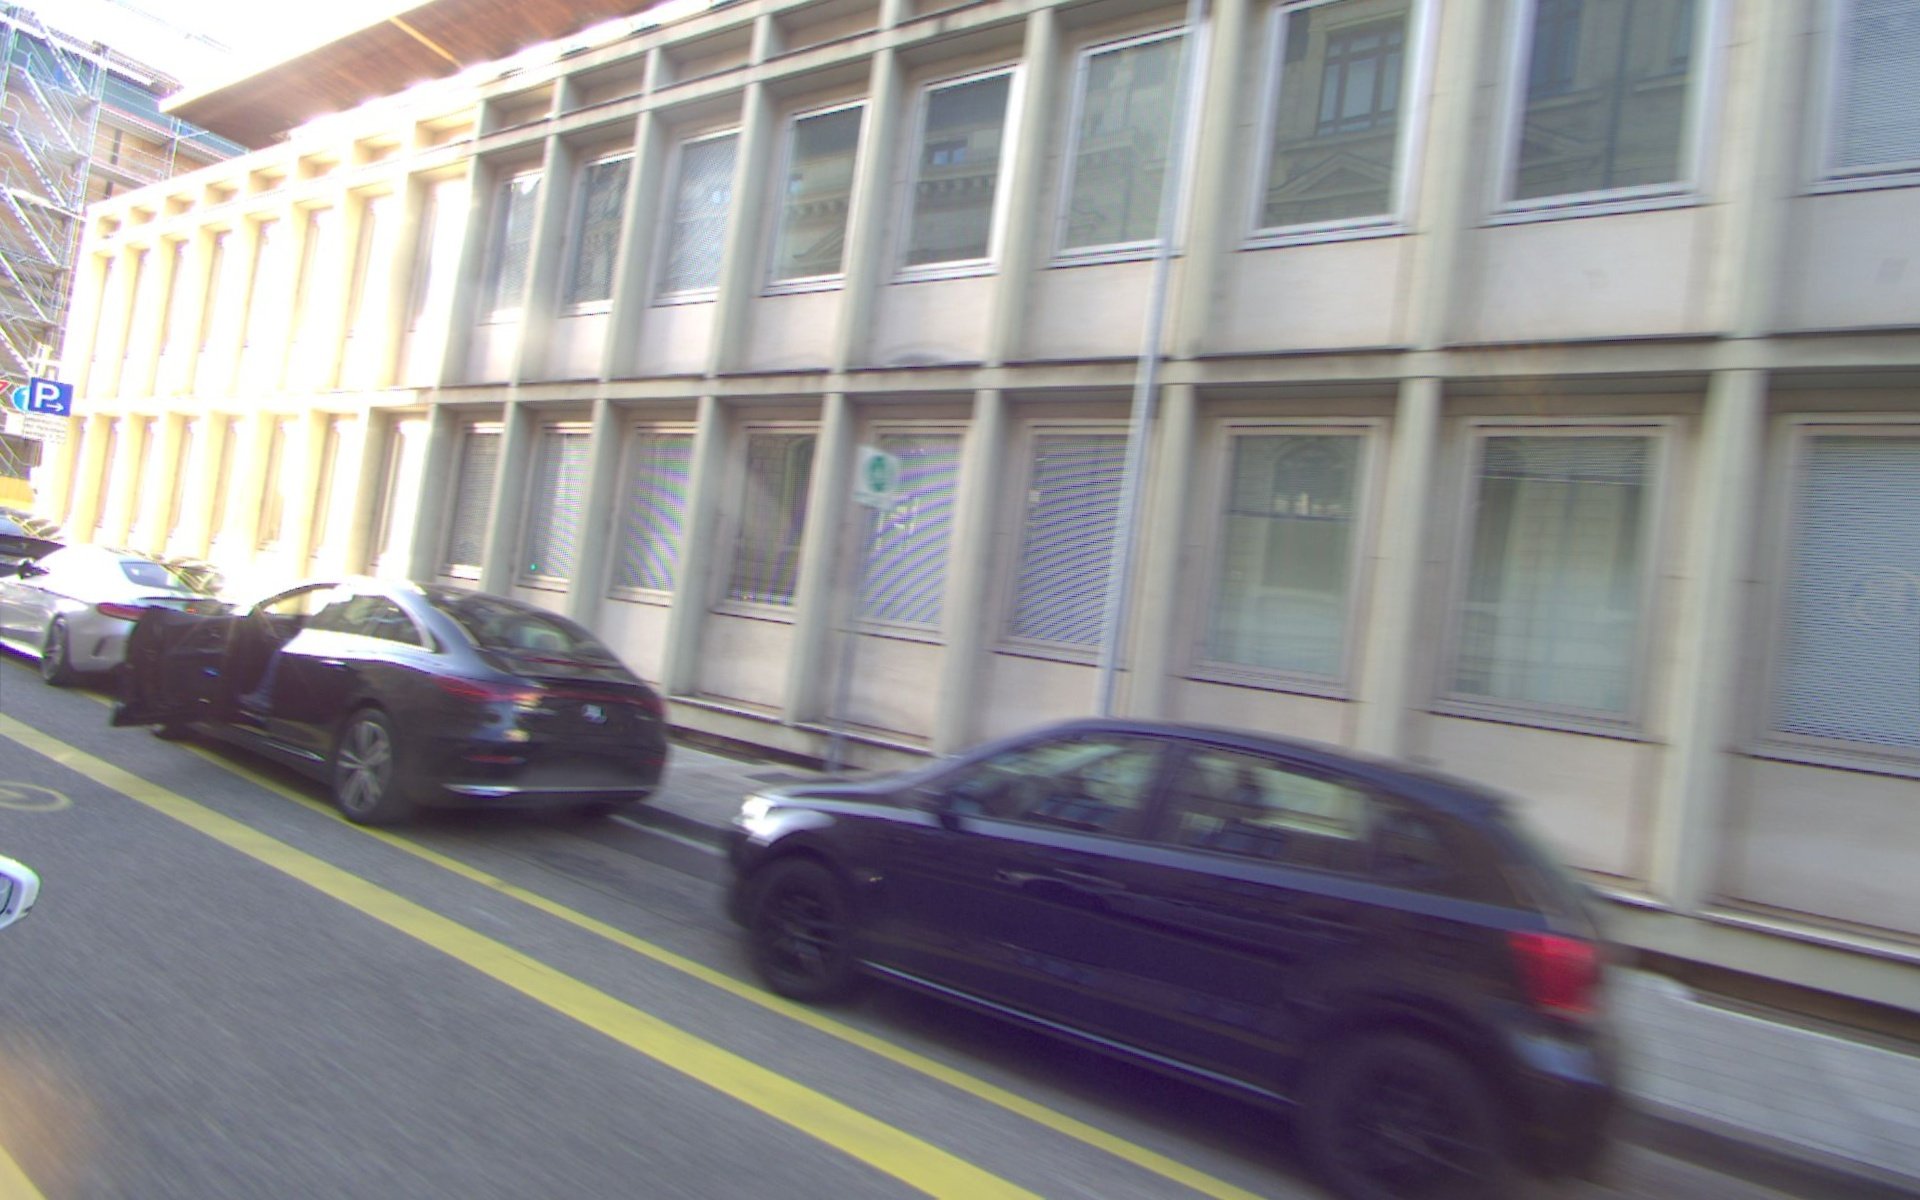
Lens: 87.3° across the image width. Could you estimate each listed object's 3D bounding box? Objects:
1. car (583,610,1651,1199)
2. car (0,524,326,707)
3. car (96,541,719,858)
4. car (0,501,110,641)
[{"bbox_3d":[0.488,1.085,4.648,4.217,1.494,1.787,5,-5,31],"label":"car"},{"bbox_3d":[-8.929,0.104,10.814,4.408,1.413,1.829,5,-5,34],"label":"car"},{"bbox_3d":[-4.241,0.601,7.513,4.658,1.516,1.831,5,-5,31],"label":"car"},{"bbox_3d":[-14.491,-0.654,14.544,4.588,1.717,1.830,7,-4,31],"label":"car"}]
